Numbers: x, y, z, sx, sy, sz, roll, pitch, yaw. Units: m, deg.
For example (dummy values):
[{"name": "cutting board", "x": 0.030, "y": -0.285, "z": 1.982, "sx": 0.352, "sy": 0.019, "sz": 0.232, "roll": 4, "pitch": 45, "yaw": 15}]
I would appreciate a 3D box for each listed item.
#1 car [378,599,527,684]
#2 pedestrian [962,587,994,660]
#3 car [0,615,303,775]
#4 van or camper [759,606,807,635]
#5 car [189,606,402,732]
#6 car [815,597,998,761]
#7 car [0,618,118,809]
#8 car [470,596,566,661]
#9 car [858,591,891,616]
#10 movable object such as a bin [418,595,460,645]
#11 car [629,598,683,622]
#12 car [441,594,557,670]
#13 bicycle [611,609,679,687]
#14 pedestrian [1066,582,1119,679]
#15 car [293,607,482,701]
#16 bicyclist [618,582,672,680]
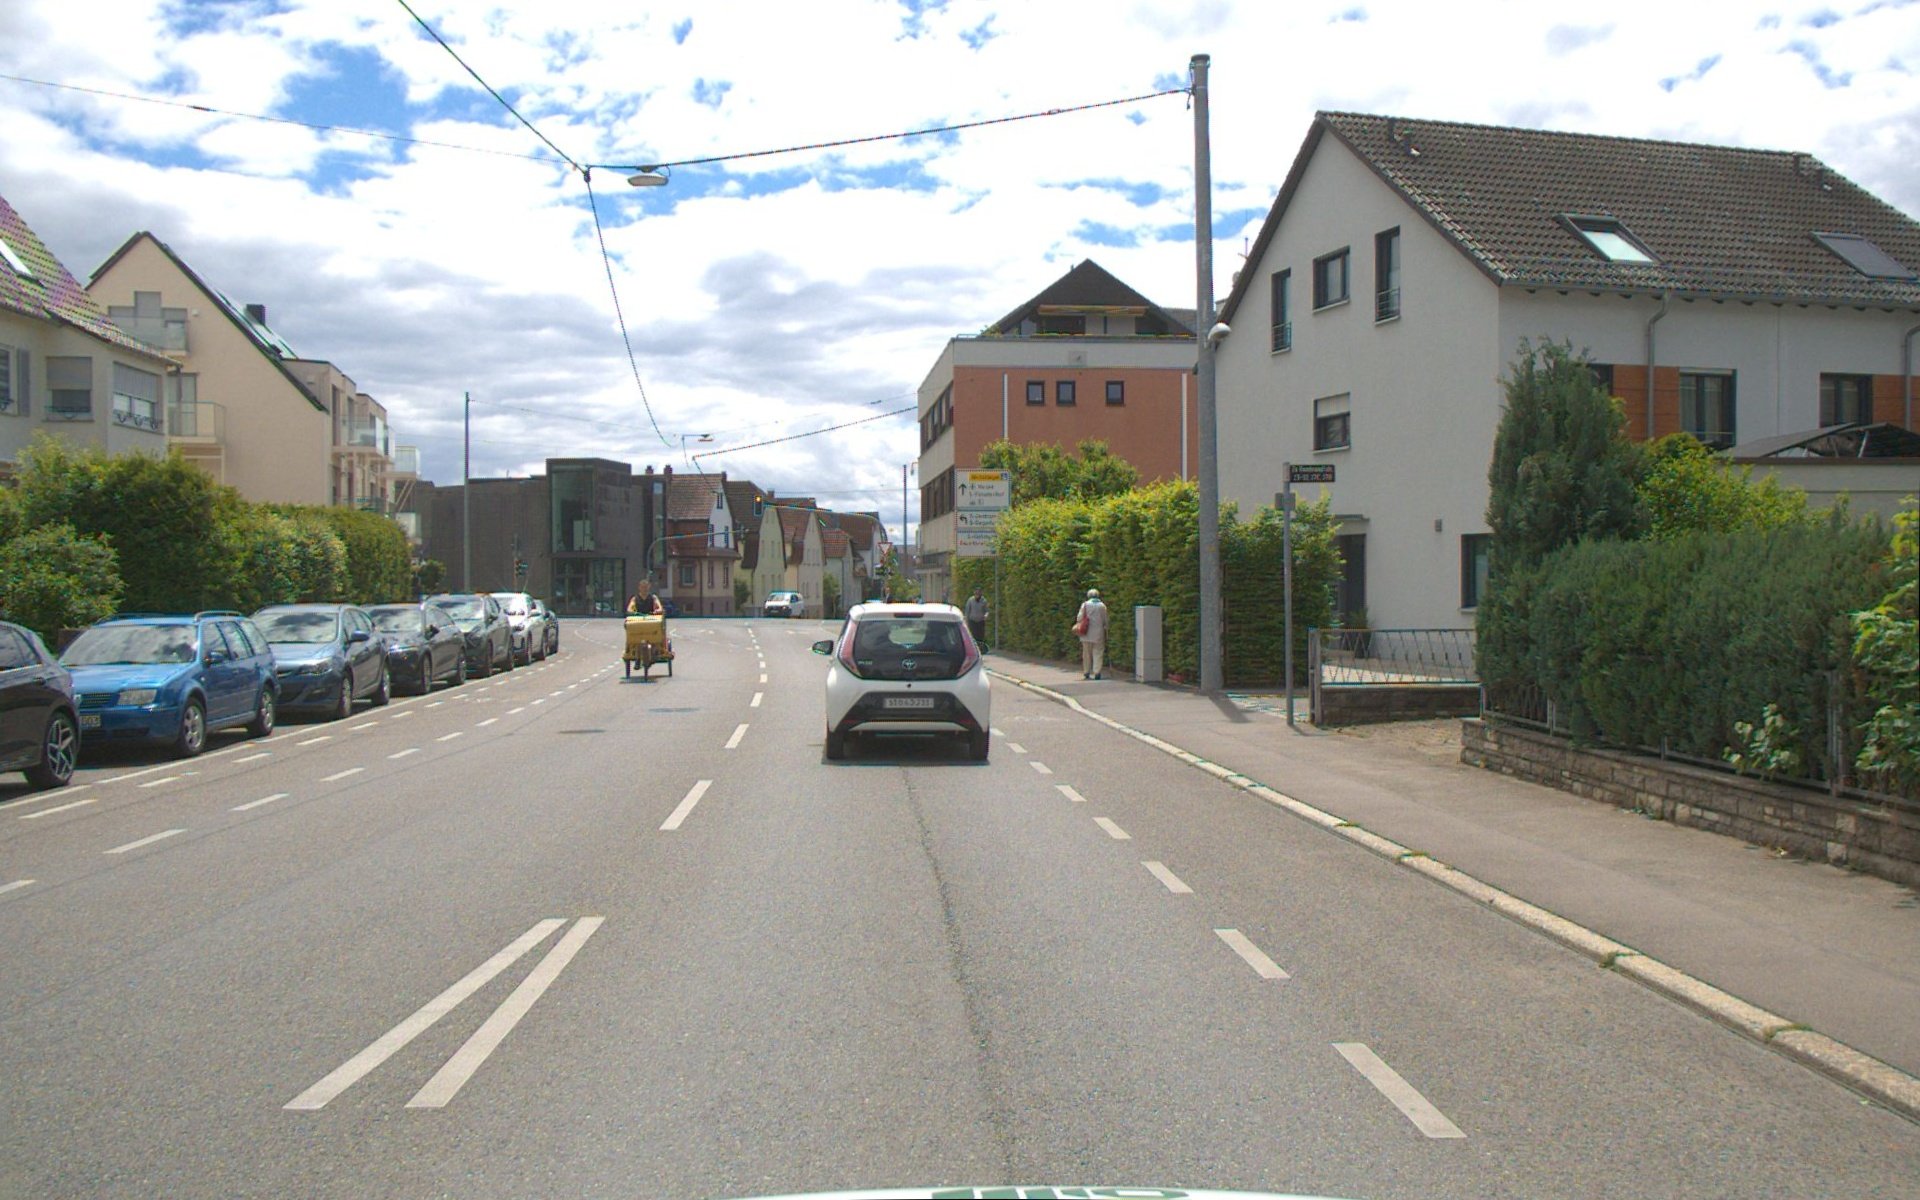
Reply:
[{"name": "car", "x": -10.359, "y": 0.791, "z": 34.105, "sx": 1.954, "sy": 1.591, "sz": 4.685, "roll": -1, "pitch": 0, "yaw": -5}, {"name": "pedestrian", "x": 0.417, "y": 0.542, "z": 38.038, "sx": 0.591, "sy": 1.633, "sz": 0.835, "roll": -2, "pitch": 0, "yaw": -6}, {"name": "car", "x": -8.676, "y": 0.923, "z": 17.921, "sx": 1.743, "sy": 1.442, "sz": 4.434, "roll": -1, "pitch": 0, "yaw": -6}, {"name": "van or camper", "x": -12.512, "y": 1.408, "z": 117.279, "sx": 2.070, "sy": 1.959, "sz": 5.289, "roll": 1, "pitch": 0, "yaw": 8}, {"name": "car", "x": -9.060, "y": 0.867, "z": 22.931, "sx": 1.745, "sy": 1.518, "sz": 4.556, "roll": -1, "pitch": 0, "yaw": -9}, {"name": "car", "x": -0.551, "y": 0.739, "z": 16.932, "sx": 1.663, "sy": 1.482, "sz": 3.297, "roll": 1, "pitch": 0, "yaw": -2}, {"name": "car", "x": -8.277, "y": 0.900, "z": 12.636, "sx": 1.743, "sy": 1.442, "sz": 4.335, "roll": -1, "pitch": 0, "yaw": -5}, {"name": "car", "x": -11.794, "y": 0.719, "z": 44.424, "sx": 1.956, "sy": 1.615, "sz": 4.480, "roll": -1, "pitch": 0, "yaw": -8}, {"name": "car", "x": -6.879, "y": 0.310, "z": 133.836, "sx": 1.951, "sy": 1.937, "sz": 4.003, "roll": 1, "pitch": 0, "yaw": 7}, {"name": "movable object such as a bin", "x": -16.125, "y": 0.616, "z": 51.247, "sx": 1.045, "sy": 1.508, "sz": 1.212, "roll": -1, "pitch": 0, "yaw": -9}, {"name": "car", "x": -22.335, "y": 0.753, "z": 121.435, "sx": 3.538, "sy": 1.633, "sz": 1.692, "roll": 1, "pitch": 0, "yaw": 4}, {"name": "car", "x": -10.871, "y": 0.707, "z": 39.277, "sx": 1.955, "sy": 1.679, "sz": 4.511, "roll": -1, "pitch": 0, "yaw": -7}, {"name": "bicycle", "x": -5.756, "y": 0.848, "z": 30.384, "sx": 0.846, "sy": 1.324, "sz": 2.660, "roll": -1, "pitch": 0, "yaw": -3}, {"name": "pedestrian", "x": 2.307, "y": 0.531, "z": 28.883, "sx": 0.783, "sy": 1.645, "sz": 0.652, "roll": -2, "pitch": 0, "yaw": -6}, {"name": "car", "x": -9.723, "y": 0.856, "z": 28.485, "sx": 1.954, "sy": 1.433, "sz": 4.685, "roll": -1, "pitch": 0, "yaw": -5}, {"name": "bicyclist", "x": -5.769, "y": 0.556, "z": 30.347, "sx": 0.776, "sy": 1.743, "sz": 1.208, "roll": -1, "pitch": 0, "yaw": -2}]
